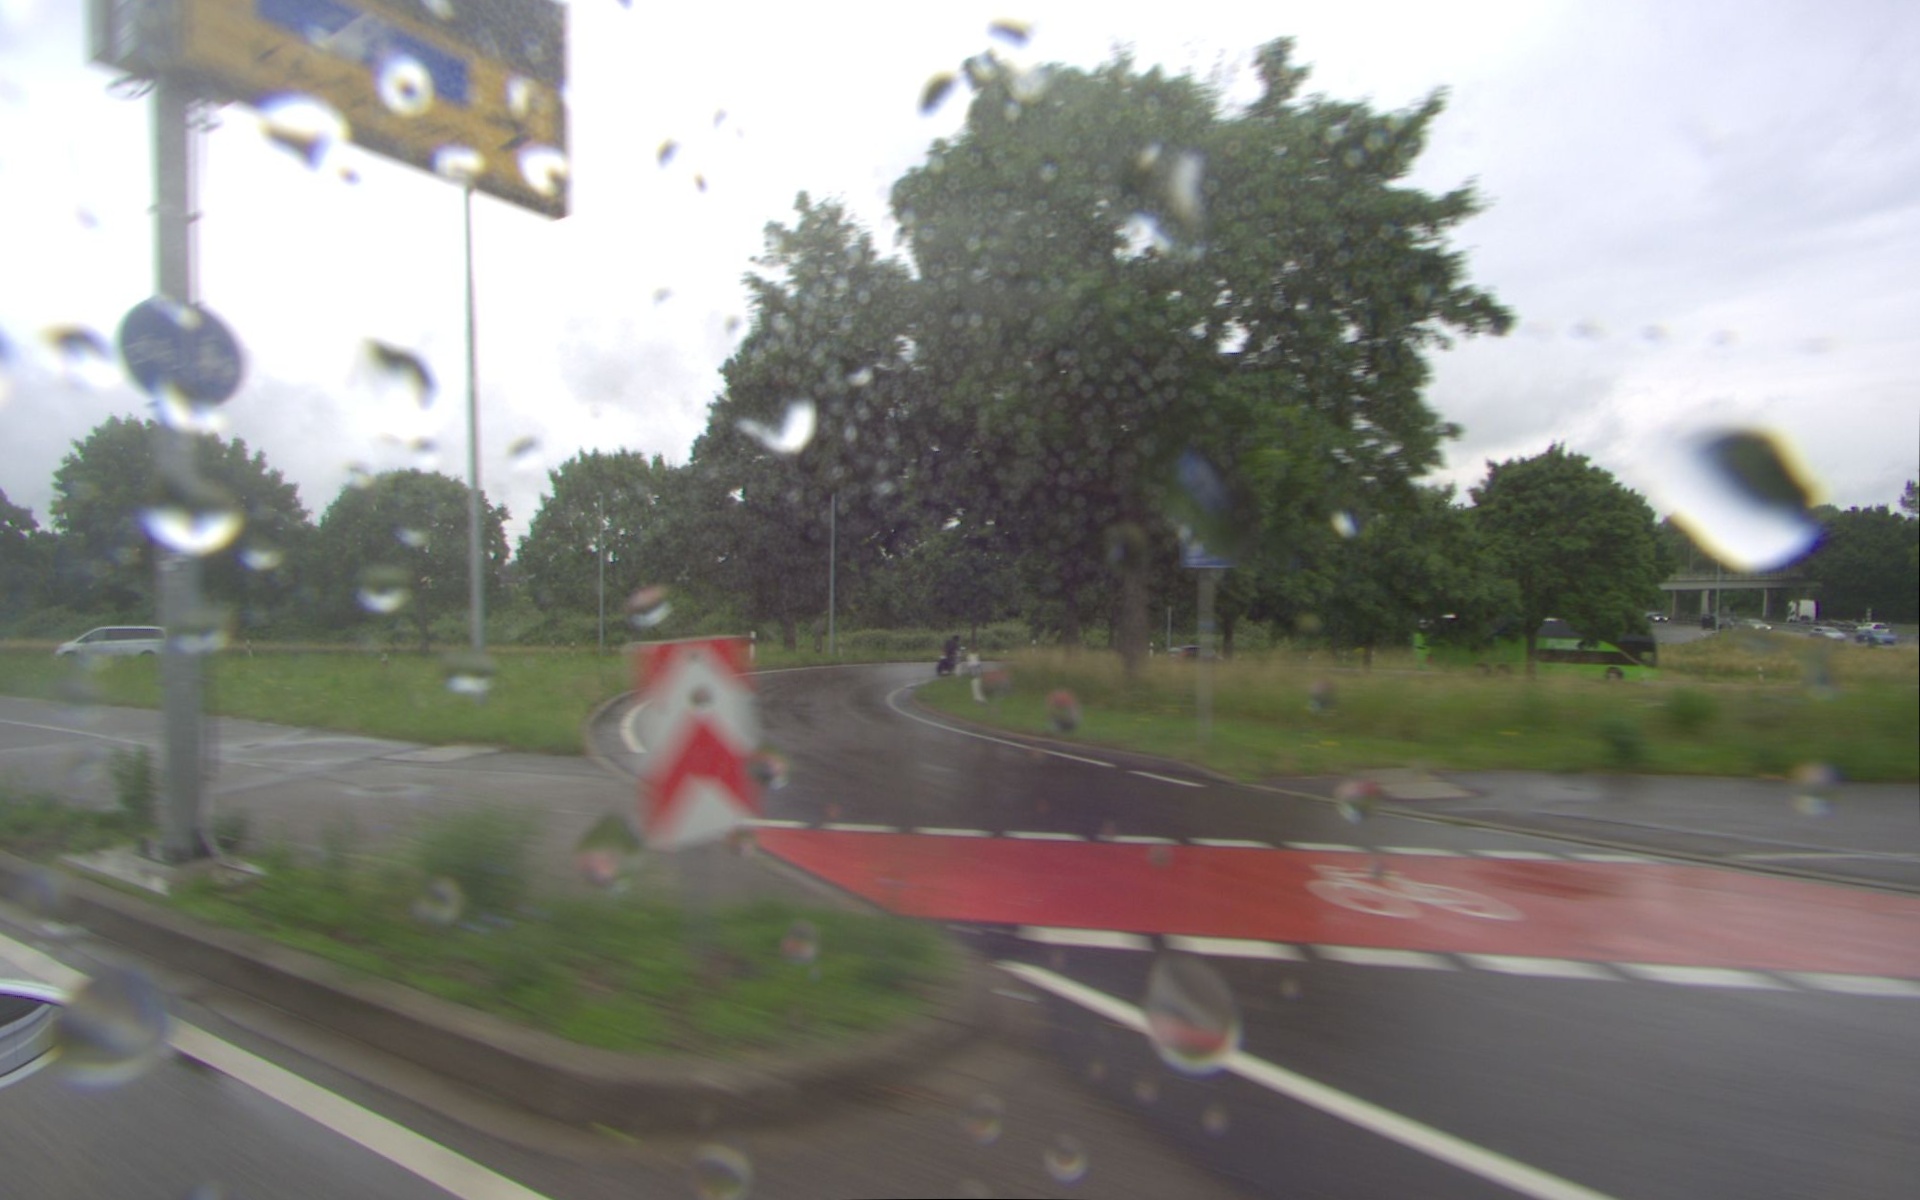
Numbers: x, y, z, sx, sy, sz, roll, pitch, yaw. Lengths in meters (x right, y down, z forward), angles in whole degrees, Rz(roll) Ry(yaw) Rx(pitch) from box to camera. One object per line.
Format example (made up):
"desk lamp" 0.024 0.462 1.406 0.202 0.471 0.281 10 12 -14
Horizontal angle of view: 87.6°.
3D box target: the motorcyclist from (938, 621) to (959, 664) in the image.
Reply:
"motorcyclist" -0.476 1.726 40.694 0.592 1.712 0.858 0 1 18

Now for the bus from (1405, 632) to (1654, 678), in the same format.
"bus" 36.936 3.562 65.329 14.307 2.715 2.763 -1 0 3

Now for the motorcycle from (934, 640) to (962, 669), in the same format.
"motorcycle" -0.479 2.209 40.721 0.592 1.108 1.729 -1 0 18

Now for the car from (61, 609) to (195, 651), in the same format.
"car" -40.301 1.441 48.619 4.525 2.000 2.063 0 -1 -15

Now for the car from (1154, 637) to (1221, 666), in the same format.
"car" 13.733 3.093 60.457 3.951 1.639 1.847 1 -1 -37

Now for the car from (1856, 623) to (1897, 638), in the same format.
"car" 105.805 3.493 115.616 1.964 1.726 3.995 0 -1 17
